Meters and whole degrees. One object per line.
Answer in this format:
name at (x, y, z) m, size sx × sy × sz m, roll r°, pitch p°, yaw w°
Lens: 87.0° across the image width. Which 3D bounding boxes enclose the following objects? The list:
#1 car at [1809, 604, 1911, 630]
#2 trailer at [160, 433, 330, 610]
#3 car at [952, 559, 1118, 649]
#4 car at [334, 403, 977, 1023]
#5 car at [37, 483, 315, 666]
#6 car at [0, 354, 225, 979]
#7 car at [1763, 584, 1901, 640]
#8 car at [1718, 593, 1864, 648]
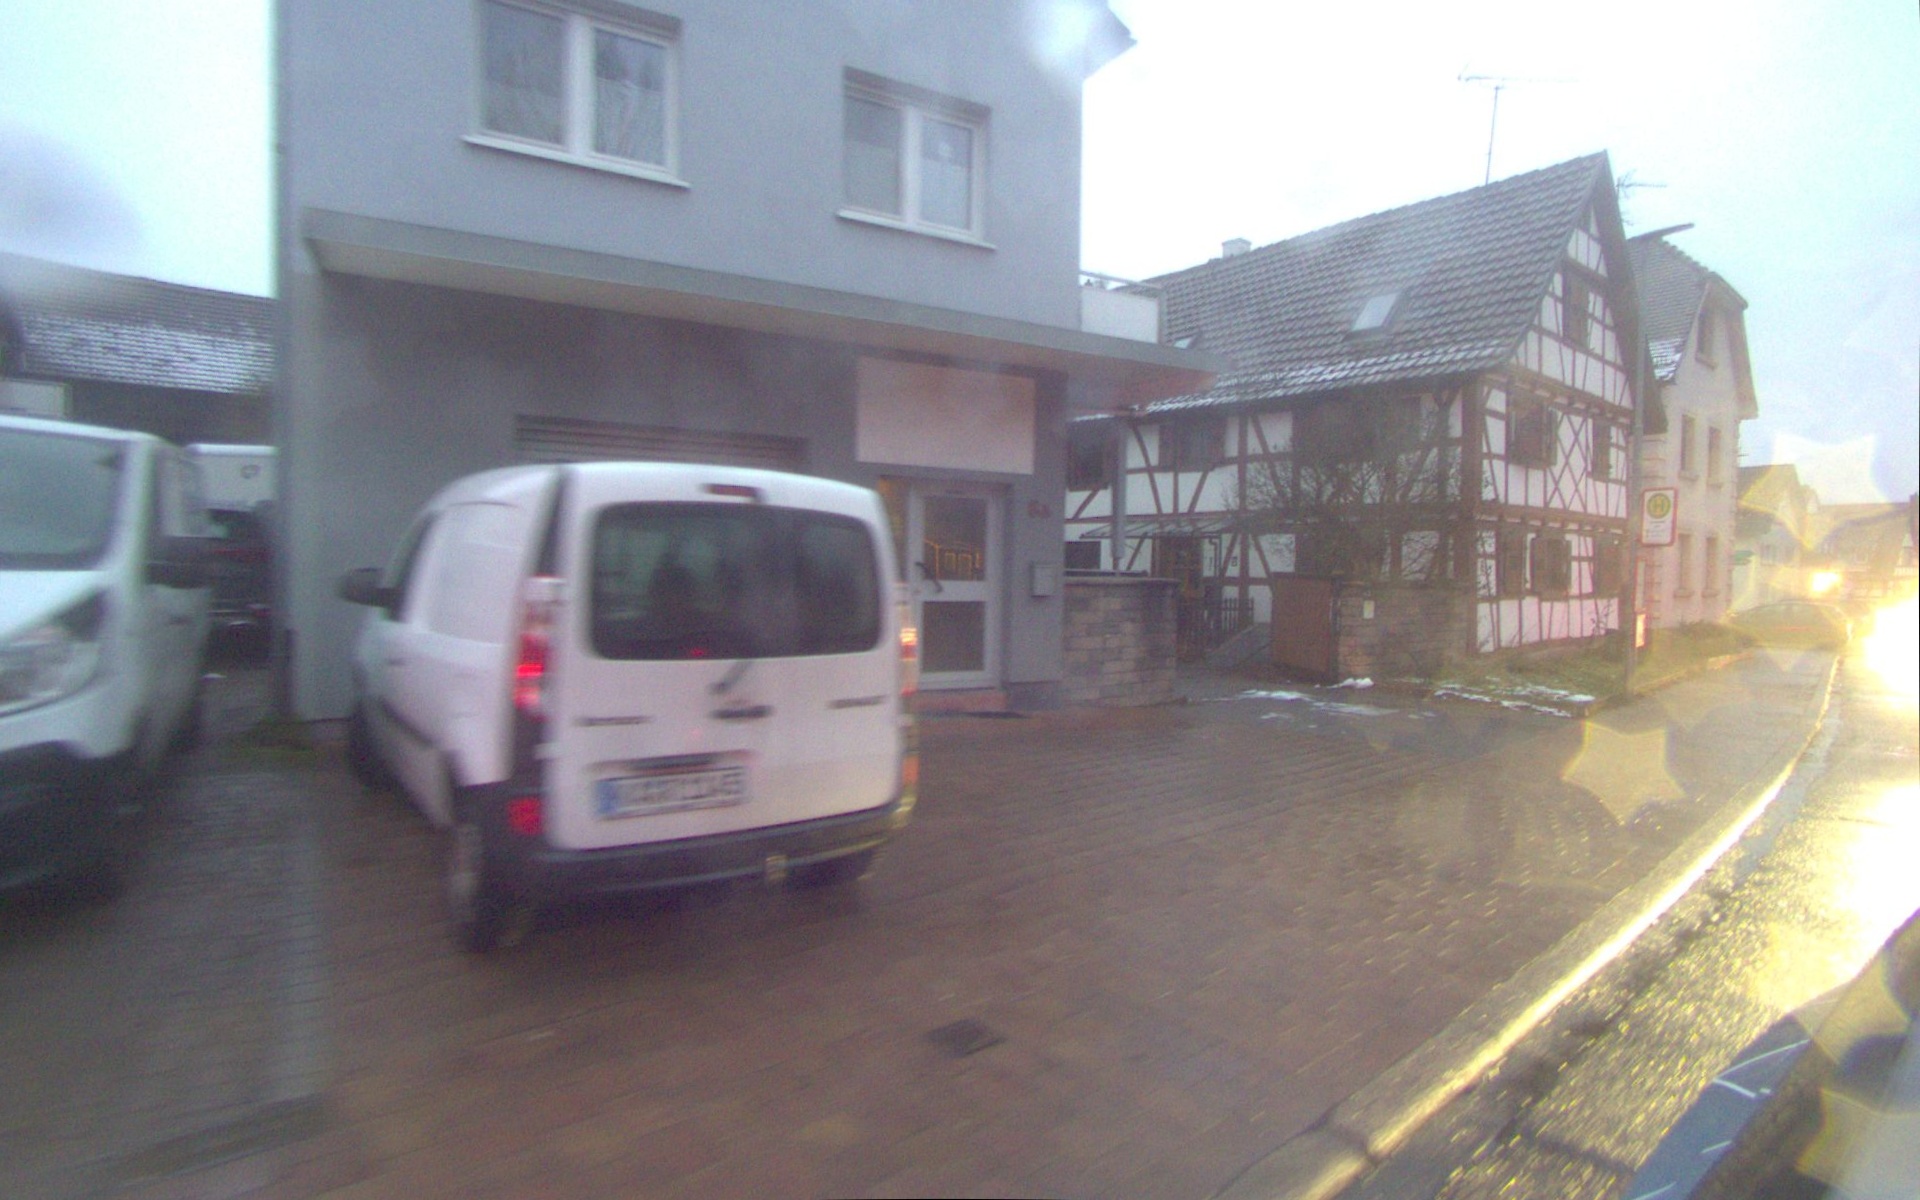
car at (46.420, 0.866, 52.252) m, size 3.880 × 1.141 × 1.526 m, roll 3°, pitch 2°, yaw 45°
trailer at (-11.679, -1.347, 16.814) m, size 1.802 × 2.546 × 4.010 m, roll 0°, pitch 6°, yaw -28°
car at (1.504, -0.001, 21.282) m, size 1.590 × 1.561 × 3.425 m, roll -3°, pitch 6°, yaw -39°
car at (-1.911, 0.210, 5.200) m, size 1.829 × 1.865 × 4.055 m, roll 0°, pitch 4°, yaw -37°
car at (-8.392, -0.389, 11.223) m, size 1.843 × 1.641 × 4.008 m, roll 1°, pitch 5°, yaw -29°
car at (-4.854, 0.032, 4.800) m, size 1.899 × 1.912 × 5.002 m, roll 1°, pitch 3°, yaw -33°
car at (33.490, 0.420, 39.020) m, size 3.873 × 1.900 × 1.843 m, roll 3°, pitch 2°, yaw 39°
car at (29.190, 0.674, 35.657) m, size 3.838 × 1.648 × 1.588 m, roll 4°, pitch 2°, yaw 40°
